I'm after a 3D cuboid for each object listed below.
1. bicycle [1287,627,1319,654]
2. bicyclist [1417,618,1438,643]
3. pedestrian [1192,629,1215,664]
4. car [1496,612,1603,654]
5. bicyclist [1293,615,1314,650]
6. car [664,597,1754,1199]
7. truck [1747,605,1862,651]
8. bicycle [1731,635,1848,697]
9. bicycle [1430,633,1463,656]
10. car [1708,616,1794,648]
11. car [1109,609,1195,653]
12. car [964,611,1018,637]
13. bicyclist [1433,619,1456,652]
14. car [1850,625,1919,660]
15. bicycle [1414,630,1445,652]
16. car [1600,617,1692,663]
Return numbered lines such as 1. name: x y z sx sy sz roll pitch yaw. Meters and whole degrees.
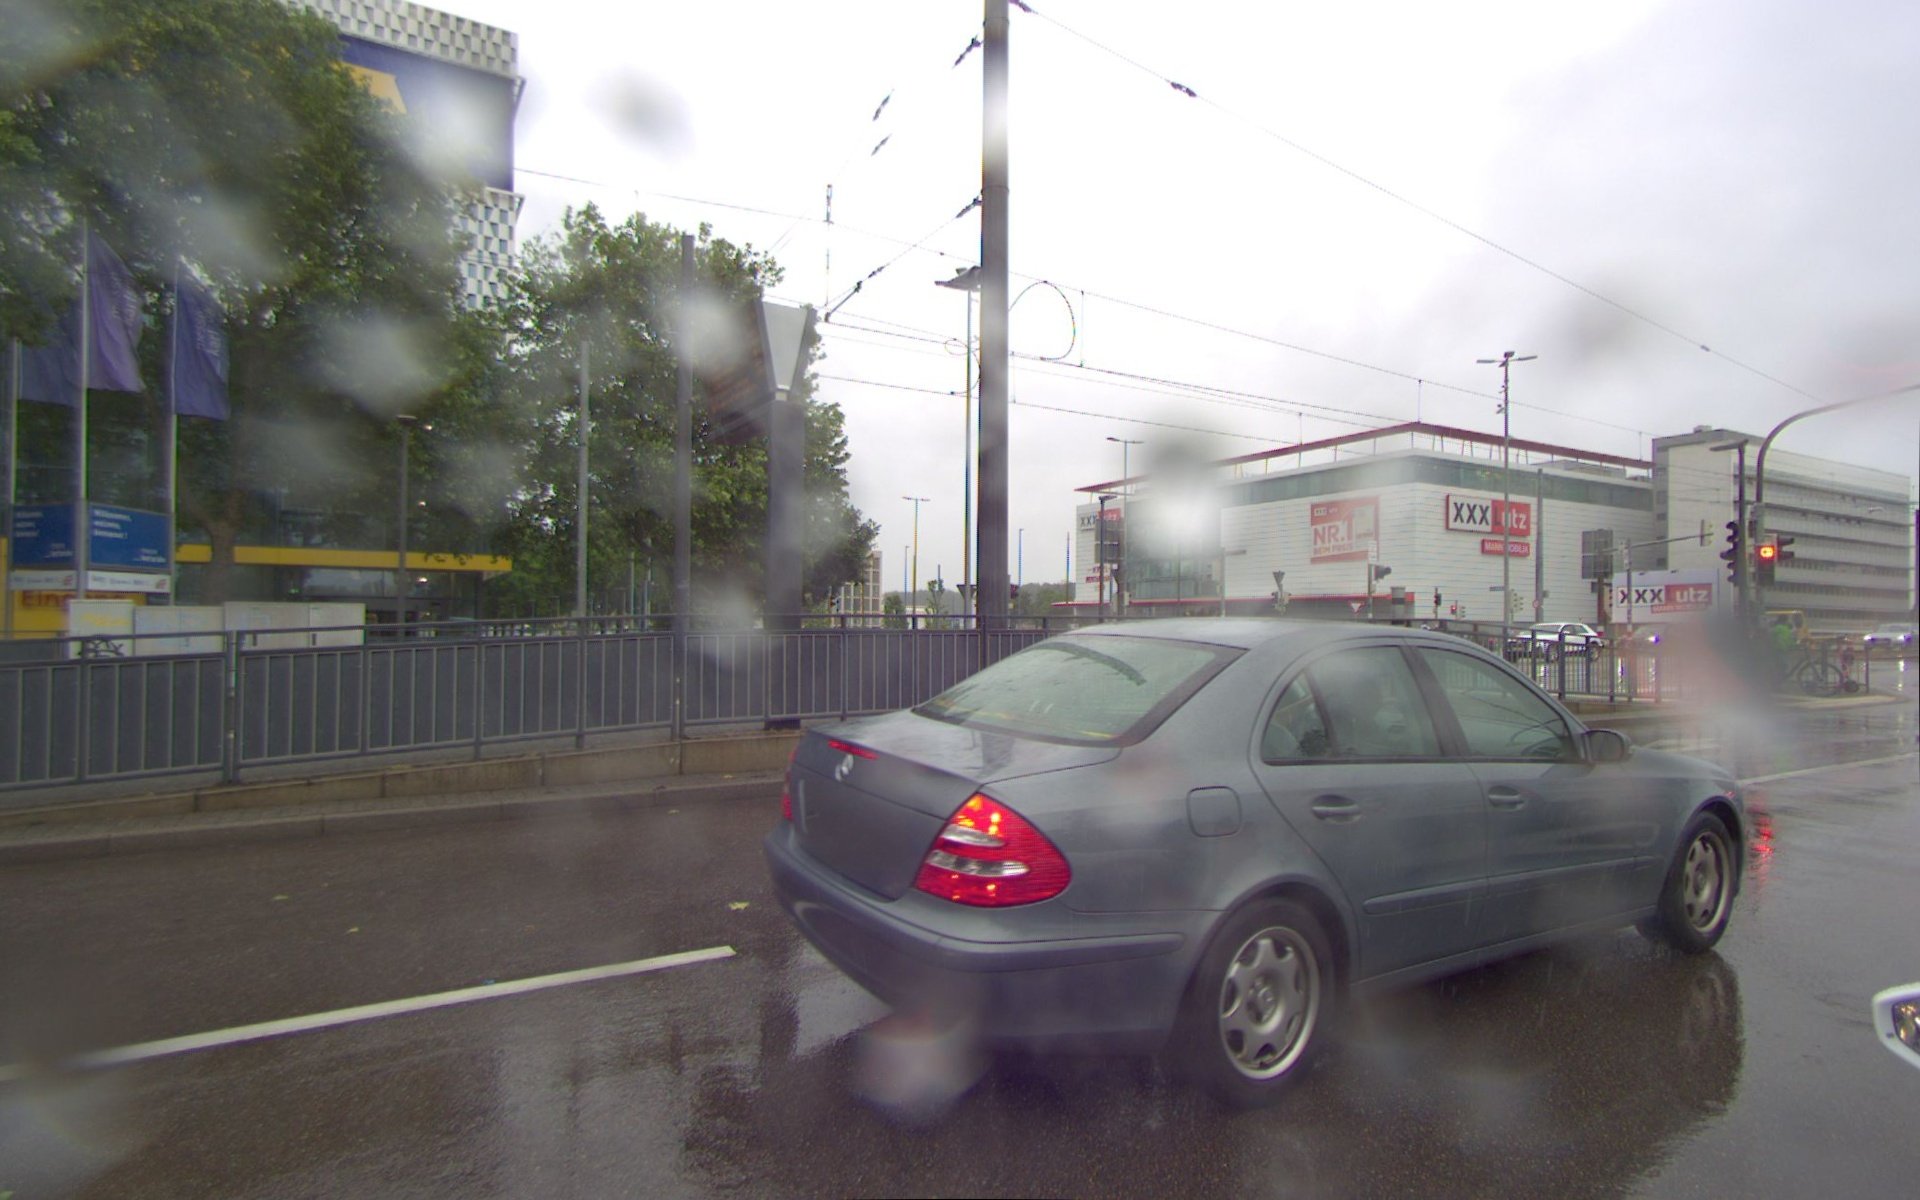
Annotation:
1. bicycle: 14.238 1.682 41.655 1.493 1.075 0.408 2 0 -33
2. bicyclist: 22.496 1.455 48.338 0.639 1.149 0.681 2 0 -29
3. pedestrian: 11.088 2.117 45.774 0.863 1.557 0.560 2 0 -31
4. car: 22.936 1.280 39.073 3.823 1.512 1.693 2 0 -25
5. bicyclist: 14.242 1.353 41.643 0.643 1.418 0.529 2 0 -33
6. car: 1.304 0.787 4.242 4.593 1.417 1.753 2 0 -32
7. truck: 46.516 1.559 55.270 7.542 2.309 2.341 2 0 -30
8. bicycle: 16.849 1.323 20.449 0.409 1.048 1.742 2 3 -31
9. bicycle: 21.989 2.025 45.419 1.688 1.000 0.448 2 0 -30
10. car: 36.129 1.470 45.870 3.780 1.354 1.582 2 0 -26
11. car: 9.631 1.527 50.714 1.976 2.040 4.295 2 0 -29
12. car: 2.171 1.667 70.209 3.723 1.645 2.001 2 0 2
13. bicyclist: 21.898 1.606 45.395 0.639 1.483 0.681 2 0 -29
14. car: 49.485 2.280 53.422 3.947 1.722 1.886 2 0 -26
15. bicycle: 22.629 1.967 48.407 1.688 1.000 0.448 2 0 -30
16. car: 32.876 1.965 48.133 3.950 1.928 1.987 5 -6 -27
